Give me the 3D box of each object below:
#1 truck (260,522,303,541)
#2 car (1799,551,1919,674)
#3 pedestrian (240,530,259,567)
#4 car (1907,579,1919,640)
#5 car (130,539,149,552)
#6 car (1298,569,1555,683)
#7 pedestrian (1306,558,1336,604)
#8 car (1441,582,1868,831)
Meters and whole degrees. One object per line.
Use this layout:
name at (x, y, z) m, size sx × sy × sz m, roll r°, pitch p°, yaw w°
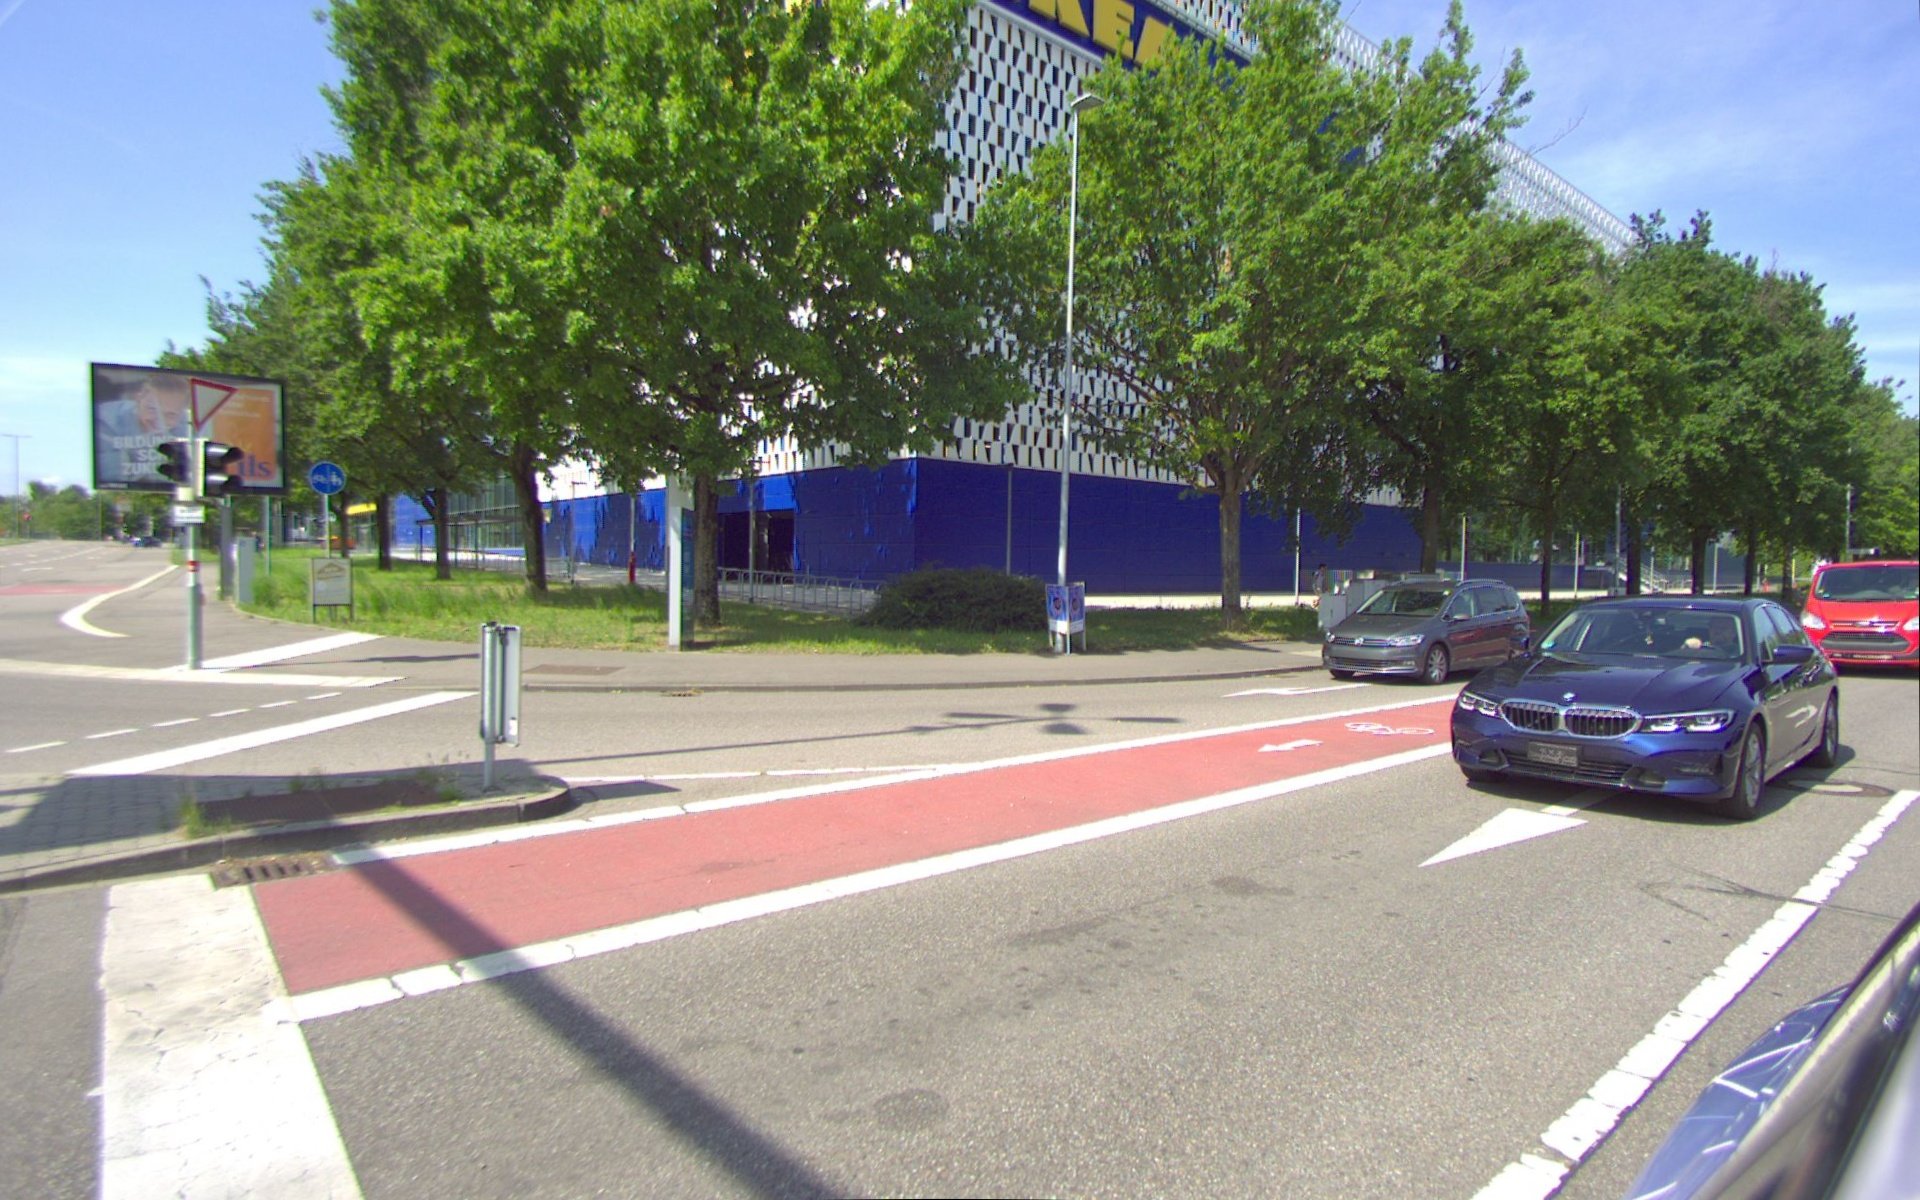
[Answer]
truck at (-116.539, -11.709, 173.771) m, size 5.874 × 3.066 × 1.997 m, roll -2°, pitch 1°, yaw -41°
car at (16.530, 0.162, 17.797) m, size 4.726 × 1.931 × 2.012 m, roll -1°, pitch 1°, yaw -41°
pedestrian at (-40.030, -2.913, 57.021) m, size 0.597 × 2.039 × 0.673 m, roll -1°, pitch 0°, yaw 36°
car at (24.765, 0.210, 25.005) m, size 3.849 × 1.440 × 1.690 m, roll -1°, pitch 1°, yaw -42°
car at (-98.875, -6.555, 121.928) m, size 1.611 × 1.554 × 3.916 m, roll -1°, pitch 2°, yaw -37°
car at (7.909, 0.340, 17.064) m, size 4.307 × 1.676 × 2.001 m, roll -1°, pitch 1°, yaw -34°
pedestrian at (12.454, -0.656, 34.916) m, size 0.767 × 1.565 × 0.680 m, roll -1°, pitch 2°, yaw -40°
car at (5.742, 0.592, 8.126) m, size 4.459 × 1.447 × 1.798 m, roll -1°, pitch 1°, yaw -41°
